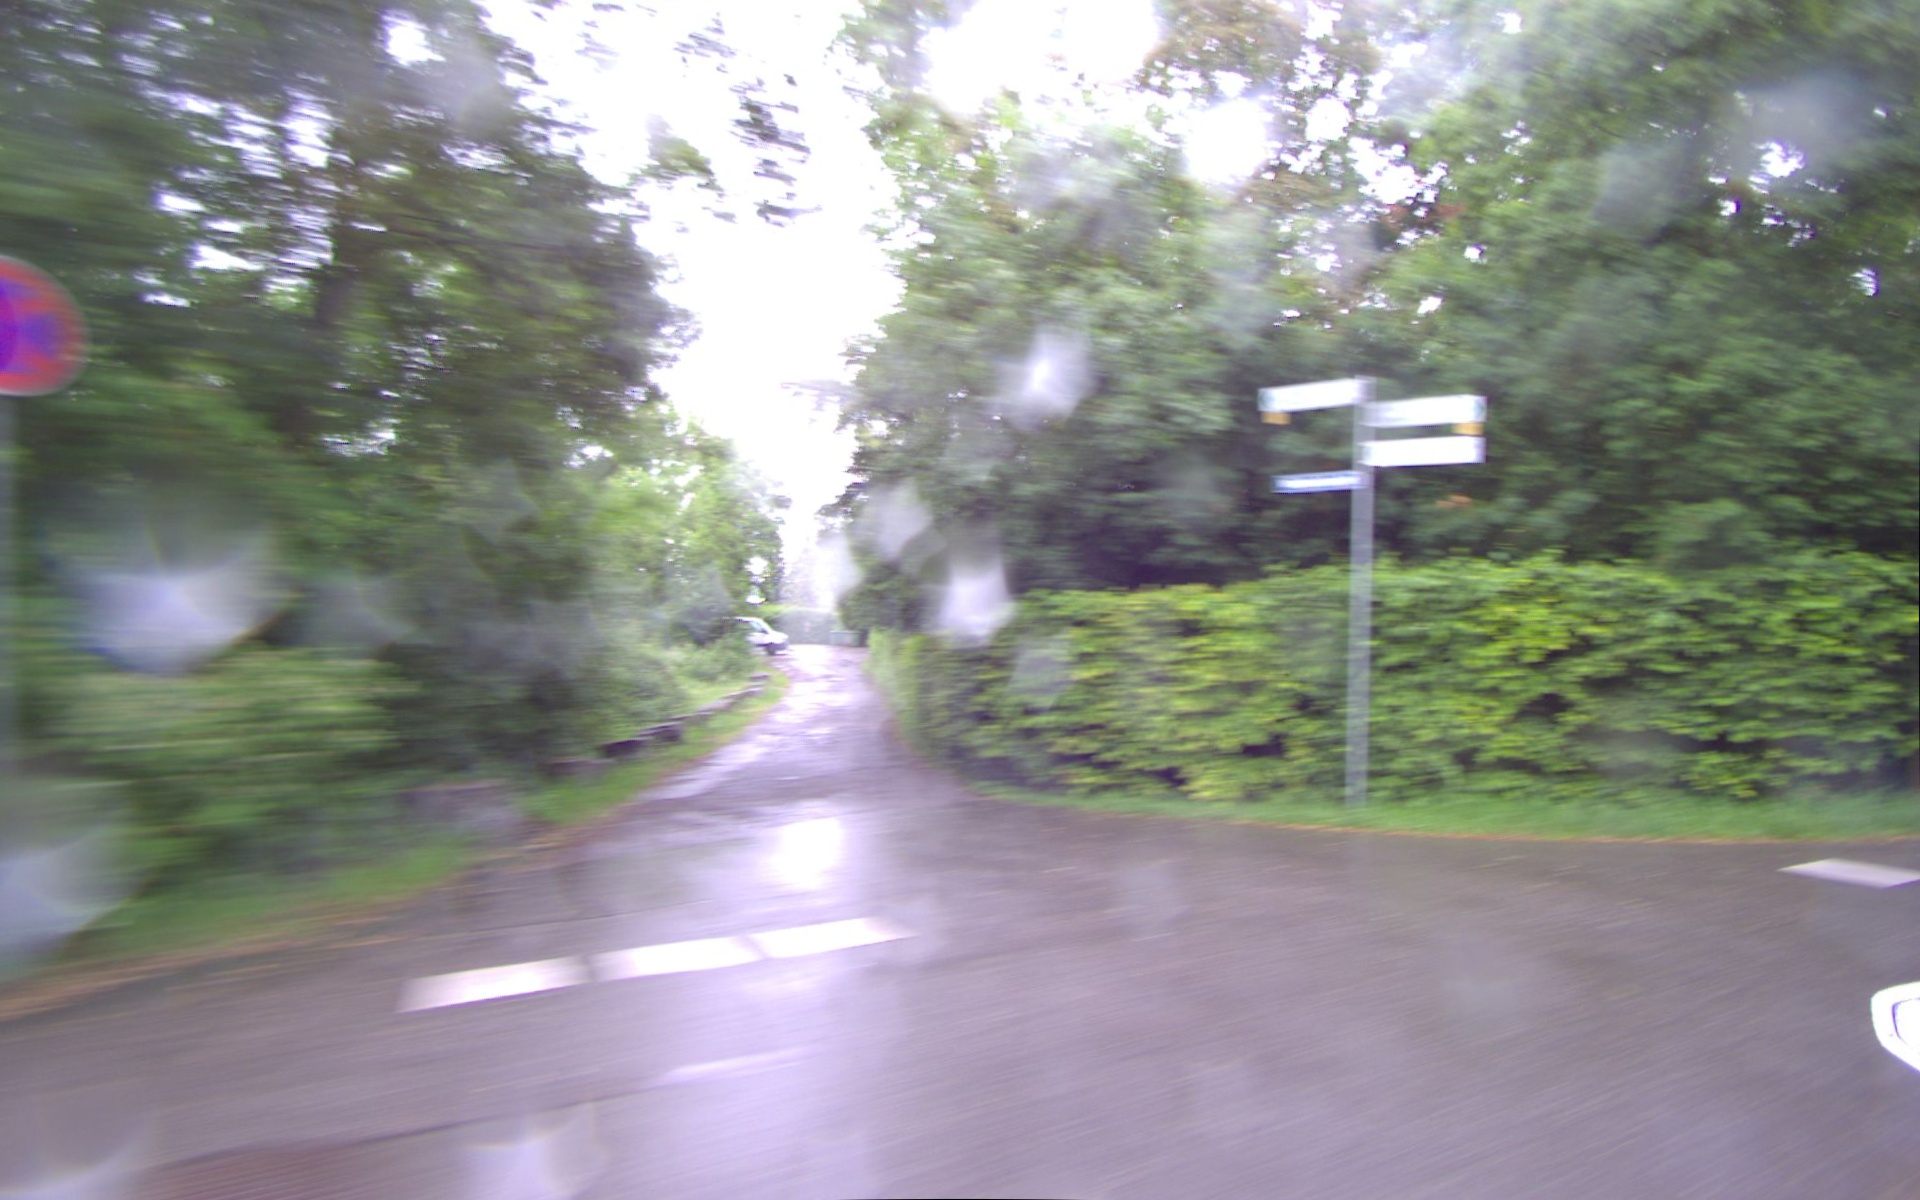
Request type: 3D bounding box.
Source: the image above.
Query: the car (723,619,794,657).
[{"bbox_3d":[-12.078,2.284,60.216,3.936,2.039,1.993,3,-3,-17],"label":"car"}]
